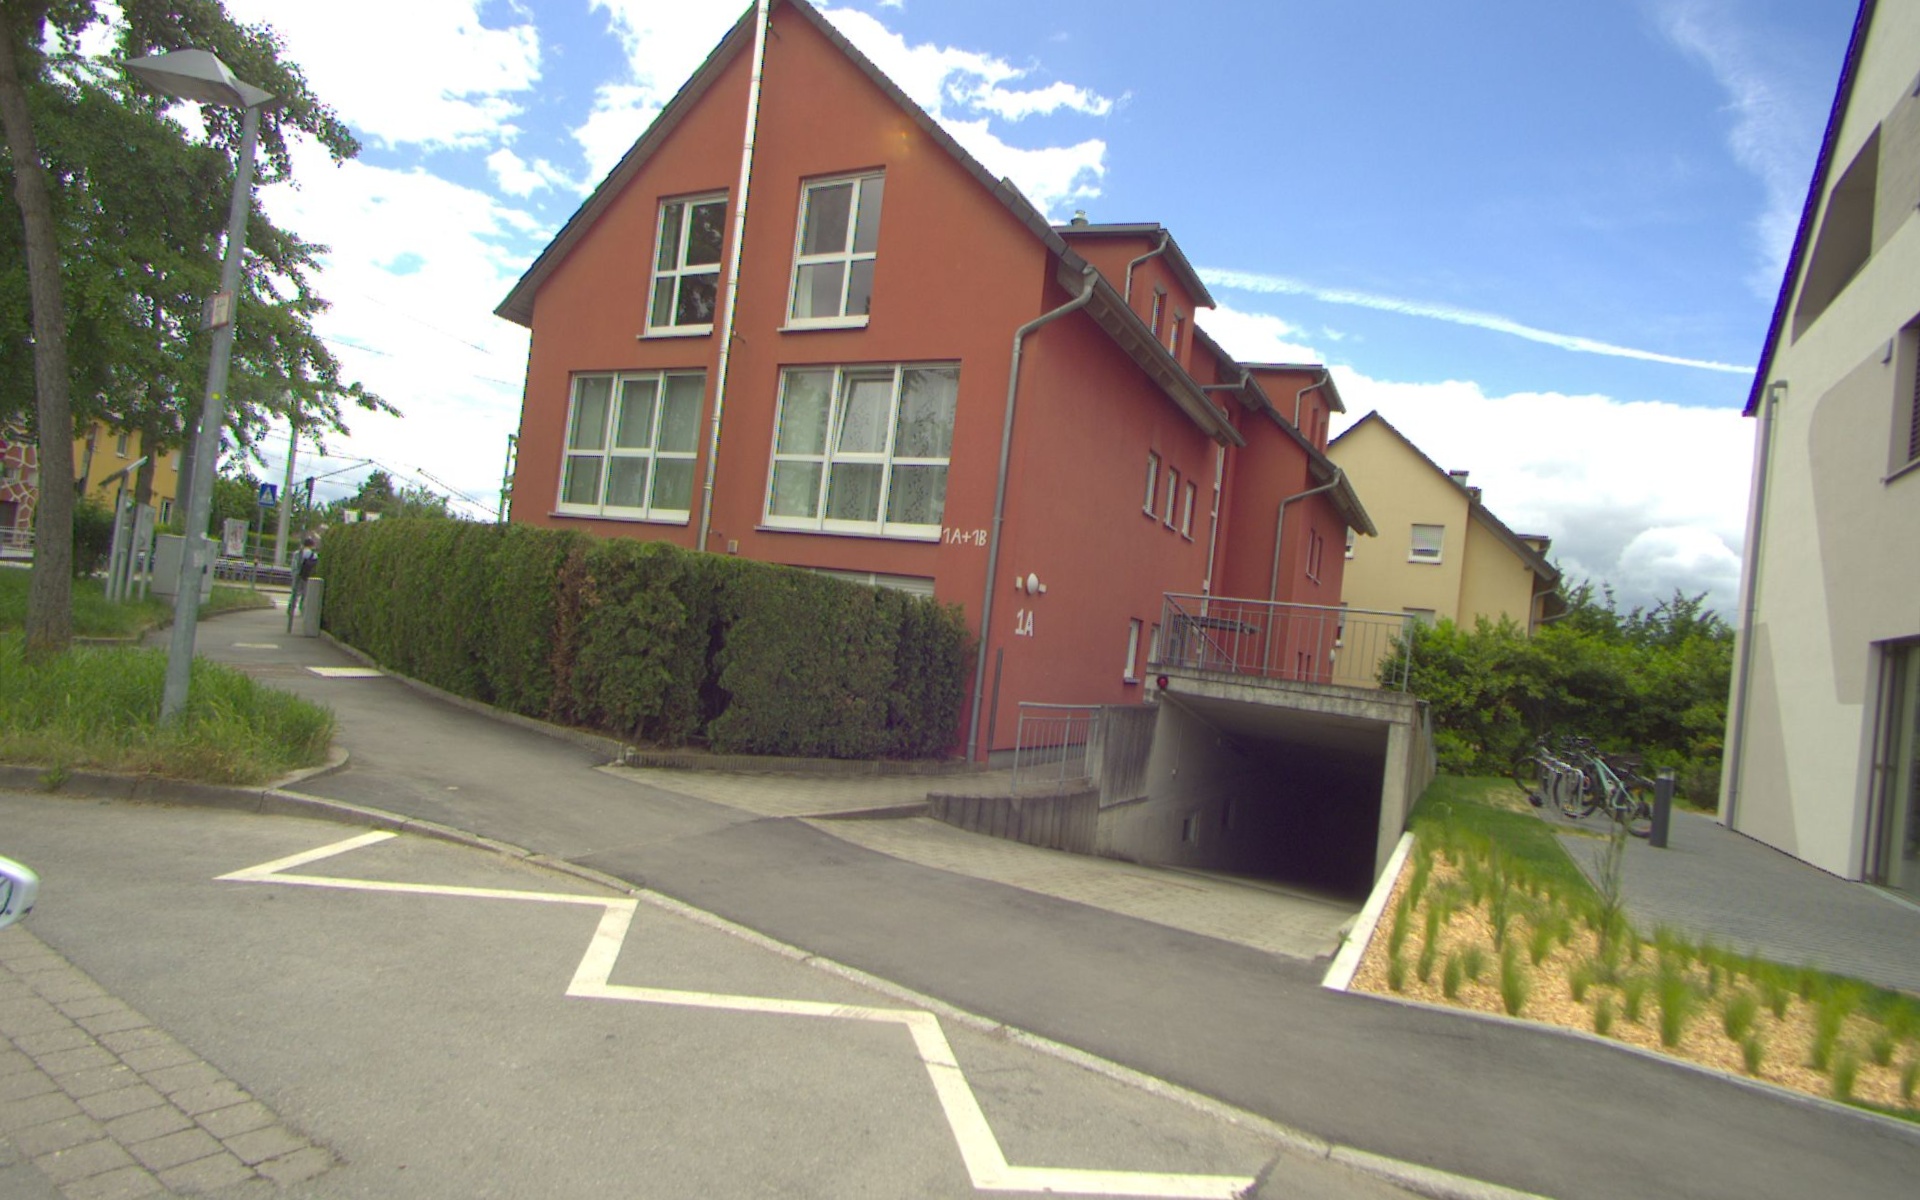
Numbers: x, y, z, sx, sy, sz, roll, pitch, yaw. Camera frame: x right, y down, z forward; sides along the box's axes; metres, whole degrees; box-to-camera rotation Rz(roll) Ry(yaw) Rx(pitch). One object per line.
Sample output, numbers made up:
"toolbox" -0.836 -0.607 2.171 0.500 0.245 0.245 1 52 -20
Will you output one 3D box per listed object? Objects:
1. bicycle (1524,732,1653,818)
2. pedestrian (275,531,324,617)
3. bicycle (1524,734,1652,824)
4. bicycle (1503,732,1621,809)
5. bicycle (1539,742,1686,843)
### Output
"bicycle" 10.629 2.942 17.109 0.454 1.119 1.928 6 -2 -19
"pedestrian" -15.529 -0.602 23.672 0.617 1.938 0.827 7 0 -22
"bicycle" 9.883 2.797 15.911 0.454 1.096 1.779 6 -2 -16
"bicycle" 10.936 3.082 18.358 0.454 1.064 1.928 6 -2 -19
"bicycle" 9.058 2.649 14.051 0.454 1.064 1.779 6 -2 -16
